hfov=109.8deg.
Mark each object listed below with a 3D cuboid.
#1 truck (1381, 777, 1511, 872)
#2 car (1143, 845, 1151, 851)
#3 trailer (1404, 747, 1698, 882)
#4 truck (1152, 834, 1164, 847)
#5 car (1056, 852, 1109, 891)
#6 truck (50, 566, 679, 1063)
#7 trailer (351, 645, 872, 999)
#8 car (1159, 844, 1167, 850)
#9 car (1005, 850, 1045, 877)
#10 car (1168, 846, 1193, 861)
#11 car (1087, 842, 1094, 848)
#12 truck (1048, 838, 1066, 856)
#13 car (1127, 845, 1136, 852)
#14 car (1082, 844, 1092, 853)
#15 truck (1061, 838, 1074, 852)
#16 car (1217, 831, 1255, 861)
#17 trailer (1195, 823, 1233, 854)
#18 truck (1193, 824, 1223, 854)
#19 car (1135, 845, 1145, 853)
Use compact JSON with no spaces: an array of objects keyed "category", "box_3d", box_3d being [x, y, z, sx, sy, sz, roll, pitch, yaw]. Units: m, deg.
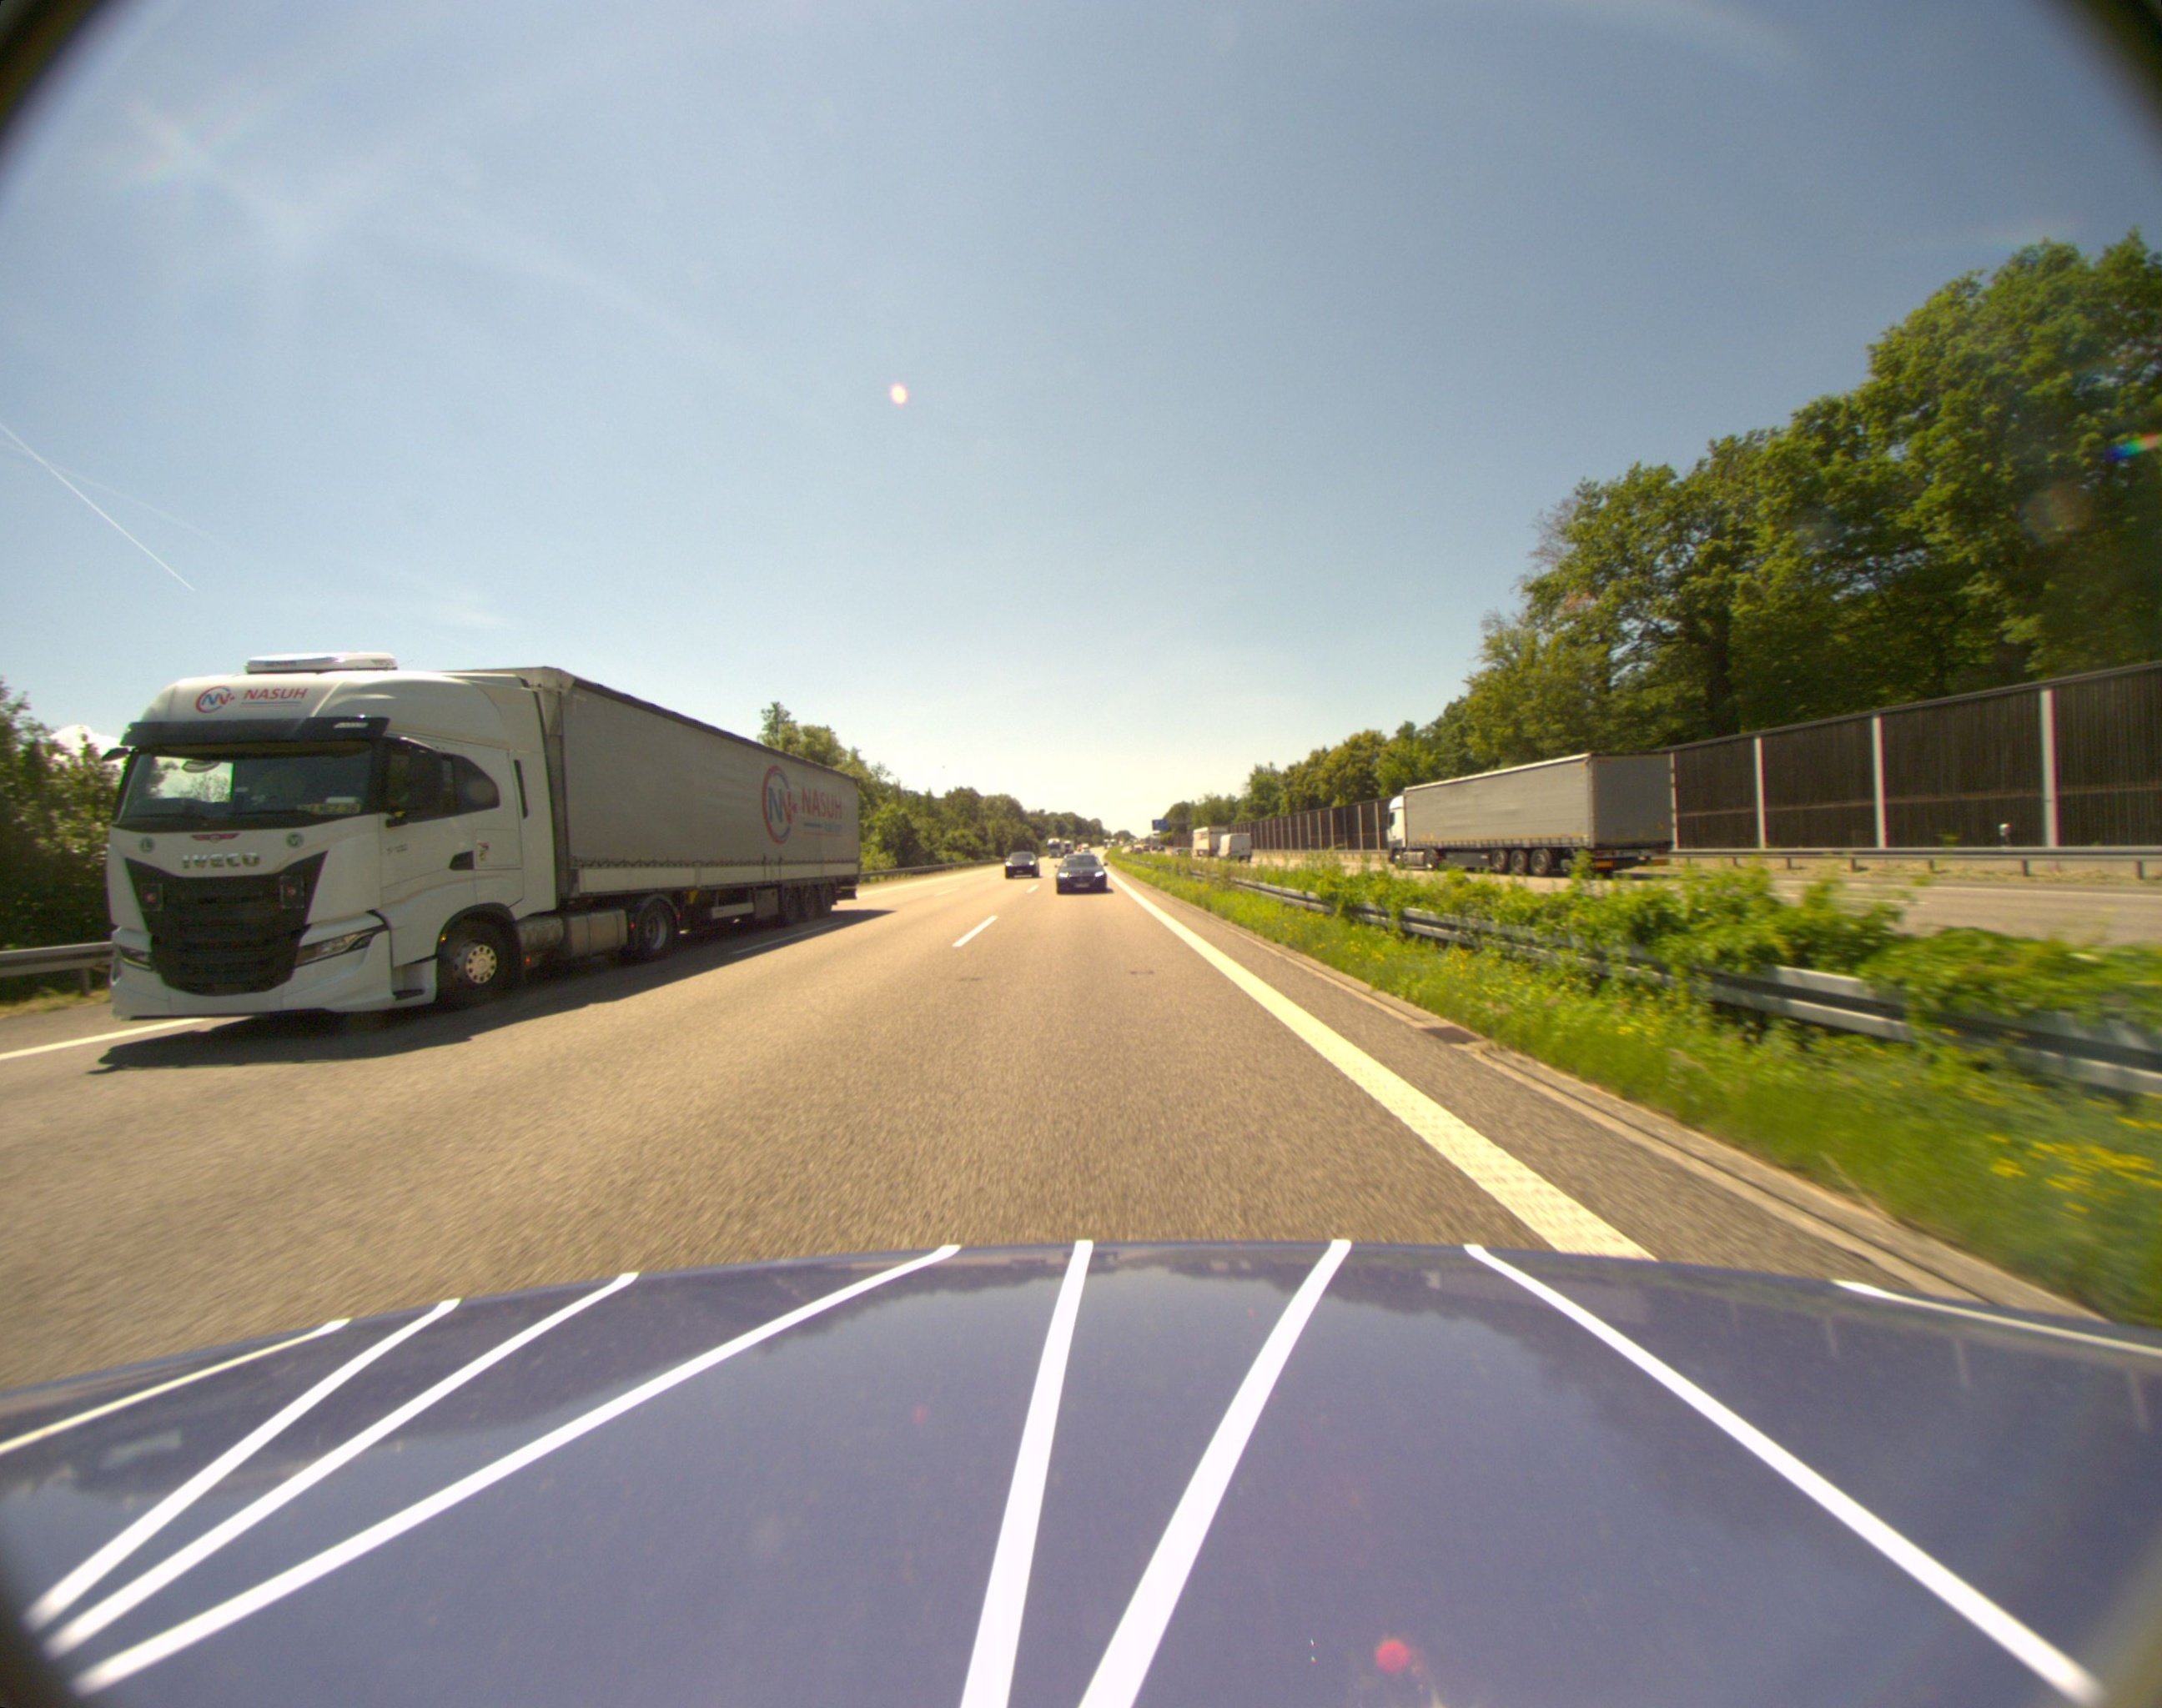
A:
[{"category":"truck","box_3d":[17.268,-1.316,36.548,2.959,4.006,6.595,-2,1,0]},{"category":"car","box_3d":[17.373,-1.662,199.149,1.803,1.439,4.000,-2,1,2]},{"category":"trailer","box_3d":[17.319,-1.254,30.138,2.970,4.006,13.805,-2,0,0]},{"category":"truck","box_3d":[23.036,-4.144,229.068,2.664,3.713,11.201,-2,1,2]},{"category":"car","box_3d":[-0.027,0.694,33.412,1.949,1.498,5.819,-2,0,-3]},{"category":"truck","box_3d":[-8.001,-0.374,9.728,2.542,4.446,5.571,-2,1,0]},{"category":"trailer","box_3d":[-7.968,-0.457,16.835,2.542,4.446,14.158,-2,0,0]},{"category":"car","box_3d":[20.956,-1.774,194.892,1.803,1.439,4.000,-2,1,2]},{"category":"car","box_3d":[-3.585,0.562,49.871,2.049,1.615,5.771,-2,0,1]},{"category":"car","box_3d":[9.798,-0.055,75.019,1.804,1.439,3.999,-2,1,0]},{"category":"car","box_3d":[2.729,-2.722,221.592,1.909,1.717,4.870,-2,1,1]},{"category":"truck","box_3d":[-5.114,-1.569,163.153,3.074,3.617,12.400,-2,0,1]},{"category":"car","box_3d":[11.997,-1.299,182.028,1.804,1.439,3.999,-2,1,0]},{"category":"car","box_3d":[1.127,-1.056,151.845,1.909,1.717,4.375,-2,1,1]},{"category":"truck","box_3d":[-3.675,-2.592,211.606,3.074,3.617,12.400,-2,0,1]},{"category":"car","box_3d":[13.744,-0.731,67.708,2.137,2.494,5.705,-1,1,0]},{"category":"trailer","box_3d":[18.381,-2.110,105.950,3.100,4.006,13.006,-2,0,1]},{"category":"truck","box_3d":[18.518,-2.159,111.569,3.119,4.006,7.965,-2,1,1]},{"category":"car","box_3d":[11.640,-0.964,151.198,1.803,1.439,4.000,-2,1,2]}]
